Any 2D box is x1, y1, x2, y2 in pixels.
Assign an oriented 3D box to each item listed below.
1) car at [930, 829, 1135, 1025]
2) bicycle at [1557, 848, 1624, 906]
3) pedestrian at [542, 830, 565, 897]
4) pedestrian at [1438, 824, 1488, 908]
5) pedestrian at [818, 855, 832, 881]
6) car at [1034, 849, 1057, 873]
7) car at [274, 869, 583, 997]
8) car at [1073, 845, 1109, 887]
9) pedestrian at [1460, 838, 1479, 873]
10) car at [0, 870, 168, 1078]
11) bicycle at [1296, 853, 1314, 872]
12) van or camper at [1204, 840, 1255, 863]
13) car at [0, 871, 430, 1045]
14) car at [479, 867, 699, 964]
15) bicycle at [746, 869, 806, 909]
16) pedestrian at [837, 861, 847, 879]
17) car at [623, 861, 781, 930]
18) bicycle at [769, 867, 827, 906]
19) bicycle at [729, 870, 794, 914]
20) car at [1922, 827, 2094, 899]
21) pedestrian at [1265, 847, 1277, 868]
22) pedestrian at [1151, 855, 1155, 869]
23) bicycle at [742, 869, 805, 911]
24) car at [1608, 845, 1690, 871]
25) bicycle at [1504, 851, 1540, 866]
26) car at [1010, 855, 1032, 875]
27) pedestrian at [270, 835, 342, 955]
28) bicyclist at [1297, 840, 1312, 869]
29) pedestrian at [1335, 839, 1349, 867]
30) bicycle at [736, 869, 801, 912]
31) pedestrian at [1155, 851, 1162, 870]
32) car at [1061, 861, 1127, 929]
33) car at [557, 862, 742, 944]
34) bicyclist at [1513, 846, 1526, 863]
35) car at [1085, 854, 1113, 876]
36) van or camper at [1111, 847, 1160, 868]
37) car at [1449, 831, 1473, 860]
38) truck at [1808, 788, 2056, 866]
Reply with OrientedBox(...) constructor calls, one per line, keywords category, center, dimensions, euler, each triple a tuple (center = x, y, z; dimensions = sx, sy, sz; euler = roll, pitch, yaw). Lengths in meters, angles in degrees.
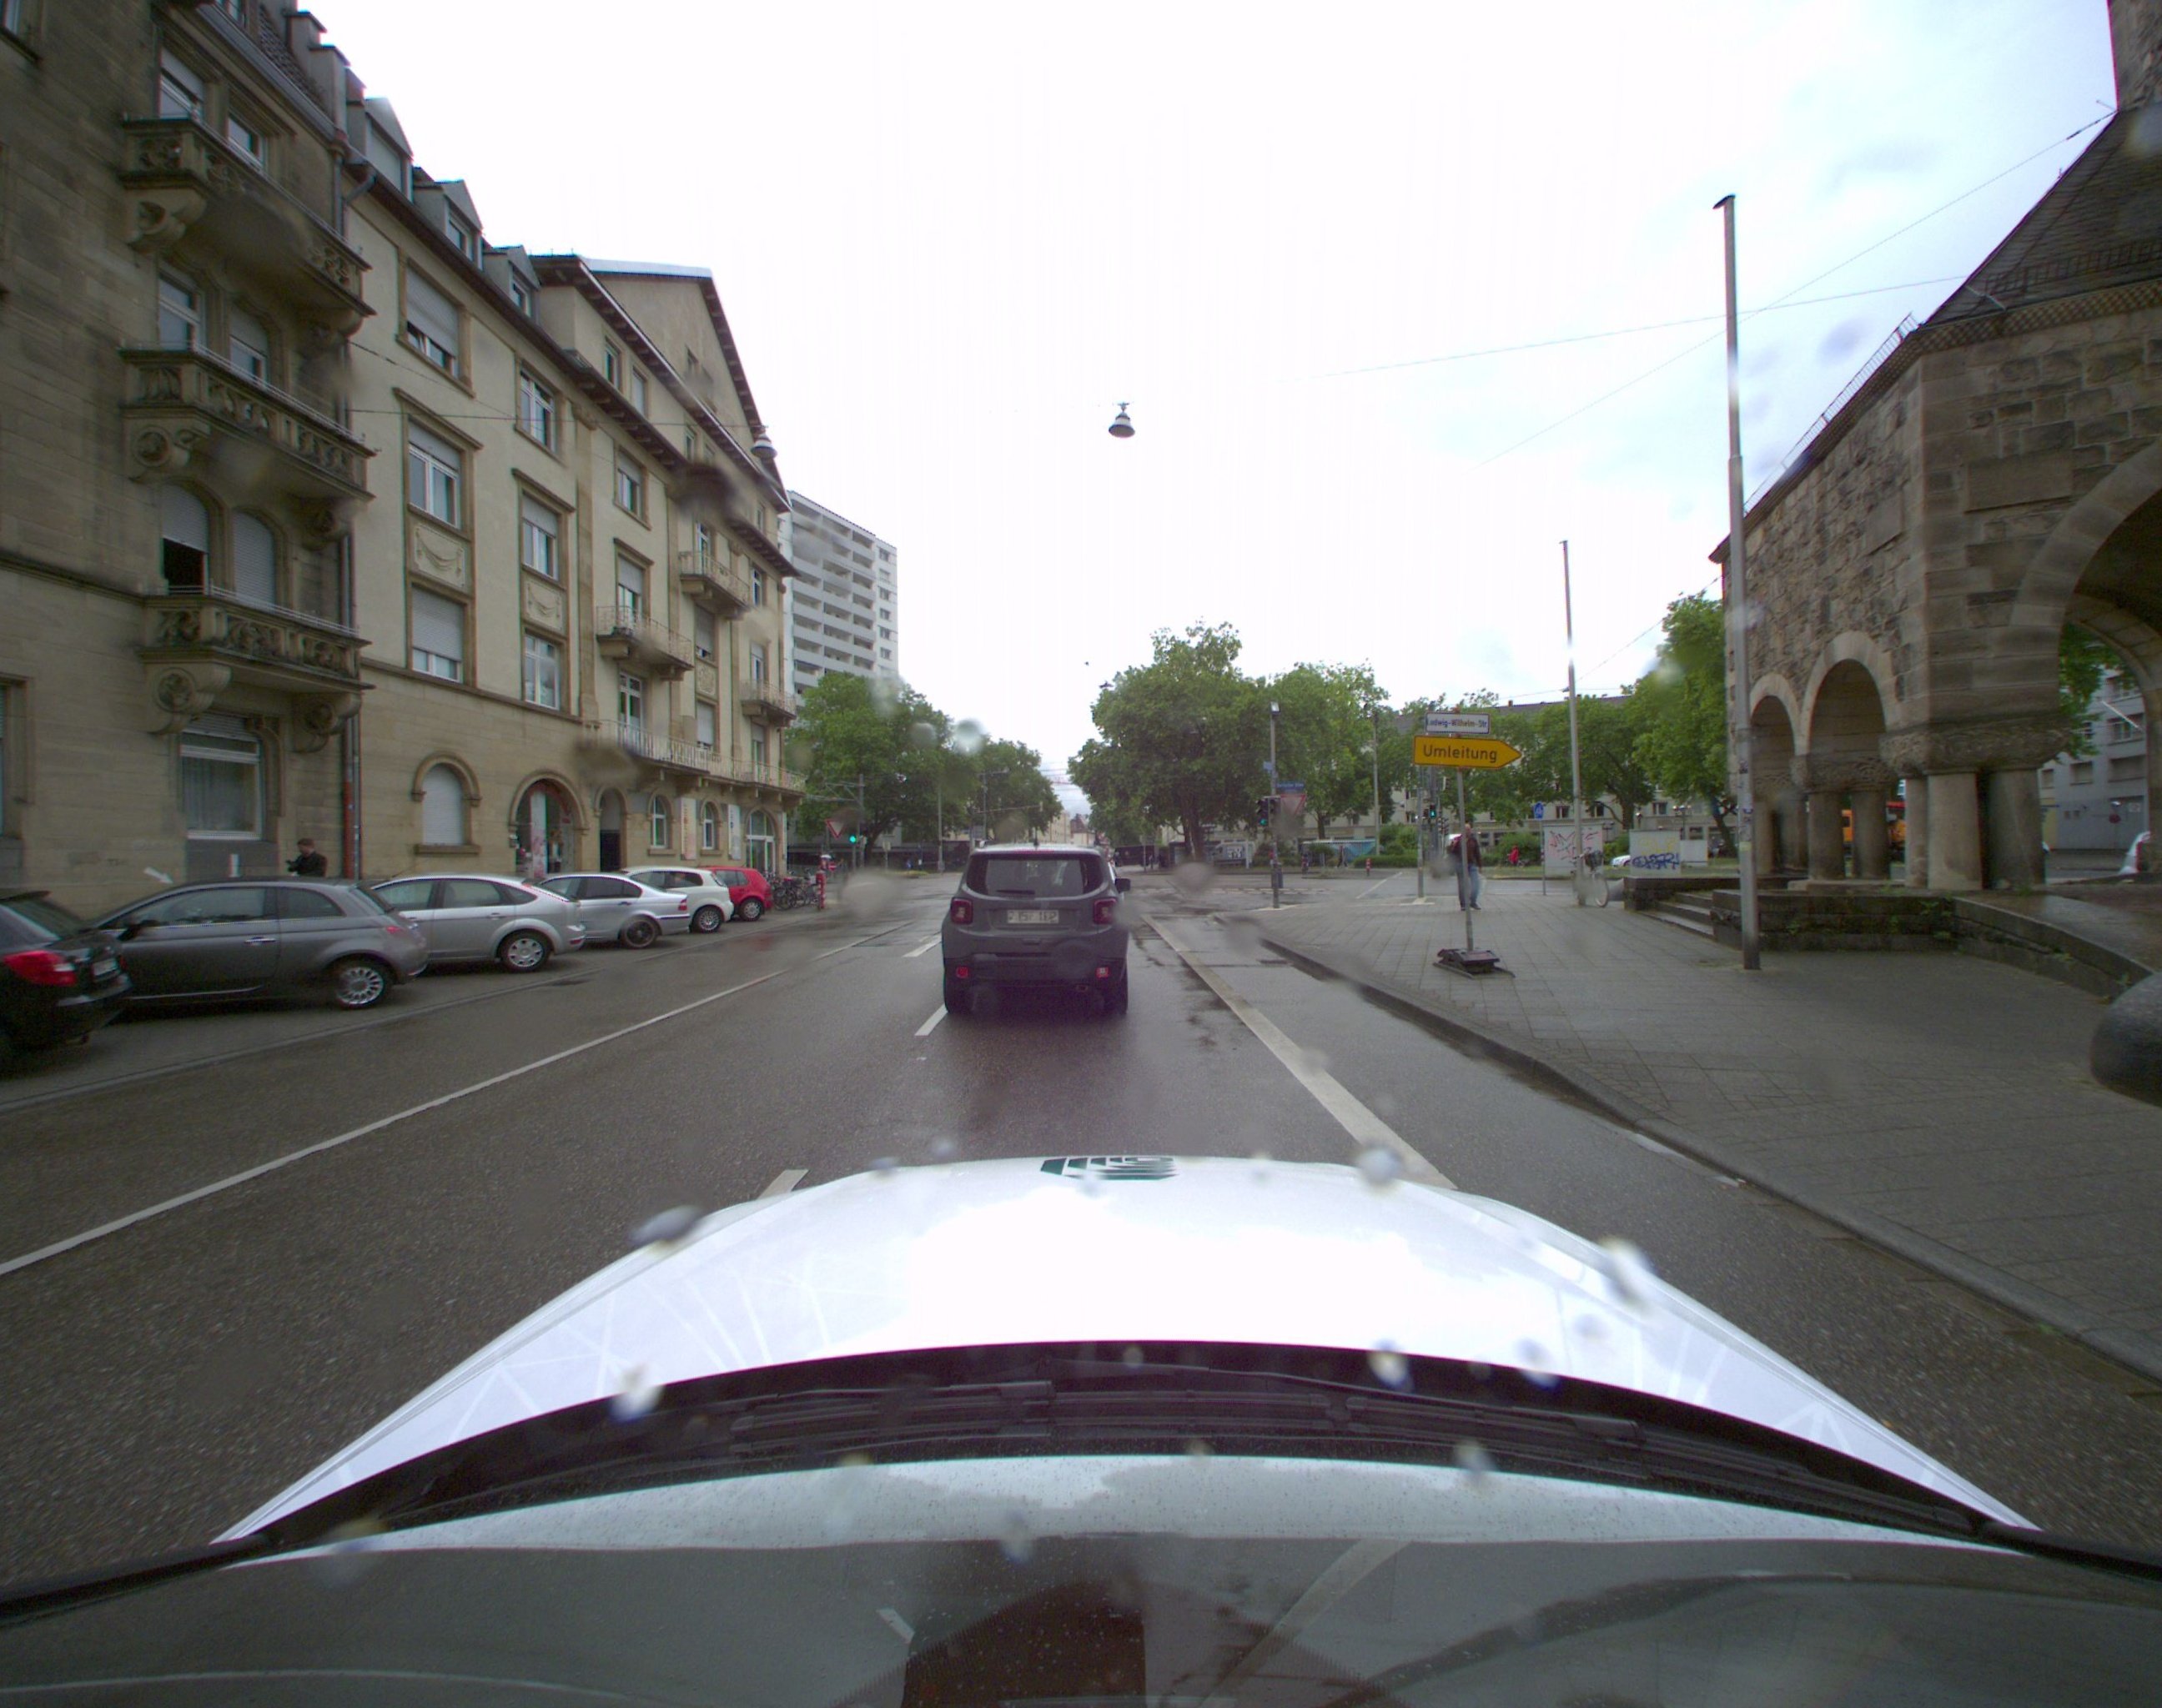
OrientedBox(category="car", center=(-0.405, 0.659, 9.247), dimensions=(1.769, 1.687, 3.848), euler=(-2, 0, 1))
OrientedBox(category="bicycle", center=(10.805, 0.464, 17.349), dimensions=(0.327, 1.154, 2.079), euler=(-2, 0, 7))
OrientedBox(category="pedestrian", center=(-14.676, 0.258, 22.651), dimensions=(0.365, 1.822, 0.347), euler=(-2, -1, -1))
OrientedBox(category="pedestrian", center=(8.266, 0.255, 17.648), dimensions=(0.780, 1.759, 0.949), euler=(-2, 0, 16))
OrientedBox(category="pedestrian", center=(-18.245, 0.977, 58.045), dimensions=(0.614, 1.826, 0.697), euler=(-2, 0, 15))
OrientedBox(category="car", center=(-2.717, 0.559, 62.782), dimensions=(1.717, 1.739, 3.726), euler=(-2, 0, -2))
OrientedBox(category="car", center=(-9.610, 1.055, 12.282), dimensions=(3.419, 1.558, 1.686), euler=(-1, 0, -38))
OrientedBox(category="car", center=(0.547, 0.600, 42.420), dimensions=(1.764, 2.013, 4.001), euler=(-2, 0, 1))
OrientedBox(category="pedestrian", center=(19.207, 0.071, 40.229), dimensions=(0.775, 1.645, 0.659), euler=(-2, -1, 25))
OrientedBox(category="car", center=(-9.857, 0.983, 6.225), dimensions=(3.571, 1.598, 1.587), euler=(-1, 0, -38))
OrientedBox(category="bicycle", center=(12.908, 0.482, 46.871), dimensions=(0.686, 1.021, 2.672), euler=(-3, 0, 22))
OrientedBox(category="van or camper", center=(15.839, -0.277, 87.220), dimensions=(5.234, 2.315, 2.093), euler=(-1, 0, 5))
OrientedBox(category="car", center=(-9.678, 1.034, 9.322), dimensions=(3.419, 1.558, 1.634), euler=(-1, 0, -38))
OrientedBox(category="car", center=(-9.359, 1.079, 15.573), dimensions=(3.419, 1.558, 1.686), euler=(-1, 0, -38))
OrientedBox(category="bicycle", center=(-10.205, 1.154, 27.284), dimensions=(1.758, 1.266, 0.608), euler=(-2, 0, 0))
OrientedBox(category="pedestrian", center=(-20.599, 1.364, 70.110), dimensions=(0.438, 1.530, 0.647), euler=(-2, 0, 27))
OrientedBox(category="car", center=(-9.836, 1.020, 21.216), dimensions=(3.419, 1.558, 1.686), euler=(-1, 0, -38))
OrientedBox(category="bicycle", center=(-9.782, 1.110, 28.156), dimensions=(1.758, 1.266, 0.608), euler=(-2, 0, 0))
OrientedBox(category="bicycle", center=(-9.812, 1.153, 25.016), dimensions=(1.758, 1.266, 0.522), euler=(-2, 0, 0))
OrientedBox(category="car", center=(21.082, 0.189, 18.679), dimensions=(1.389, 1.479, 3.239), euler=(-2, 0, 25))
OrientedBox(category="pedestrian", center=(14.672, 0.280, 62.781), dimensions=(0.667, 1.554, 0.766), euler=(-2, -2, 29))
OrientedBox(category="pedestrian", center=(8.659, 0.965, 97.919), dimensions=(0.456, 1.704, 0.424), euler=(-2, 0, 2))
OrientedBox(category="bicycle", center=(-9.891, 1.158, 26.250), dimensions=(1.804, 1.266, 0.498), euler=(-2, 0, 0))
OrientedBox(category="car", center=(32.133, 0.233, 46.146), dimensions=(3.528, 1.387, 1.638), euler=(-2, 0, 23))
OrientedBox(category="bicycle", center=(27.983, 0.271, 51.734), dimensions=(1.948, 0.911, 0.563), euler=(-2, 0, 25))
OrientedBox(category="car", center=(-5.309, 0.944, 72.688), dimensions=(1.810, 1.670, 3.916), euler=(-2, 0, -3))
OrientedBox(category="pedestrian", center=(-13.371, 0.686, 14.060), dimensions=(0.565, 2.013, 0.655), euler=(-2, 0, 1))
OrientedBox(category="bicyclist", center=(12.824, 0.047, 46.719), dimensions=(0.681, 1.617, 0.888), euler=(-3, 0, 21))
OrientedBox(category="pedestrian", center=(19.351, -0.055, 60.439), dimensions=(0.798, 2.013, 0.593), euler=(-2, -1, 28))
OrientedBox(category="bicycle", center=(-9.814, 1.146, 25.564), dimensions=(1.804, 1.266, 0.498), euler=(-2, 0, 0))
OrientedBox(category="pedestrian", center=(8.146, 0.655, 85.374), dimensions=(0.646, 2.013, 0.484), euler=(-2, 0, 14))
OrientedBox(category="car", center=(0.322, 0.882, 18.947), dimensions=(1.358, 1.376, 3.313), euler=(-2, 0, 2))
OrientedBox(category="car", center=(-9.637, 1.021, 18.270), dimensions=(3.419, 1.558, 1.686), euler=(-1, 0, -38))
OrientedBox(category="bicyclist", center=(27.901, 0.024, 51.769), dimensions=(0.673, 1.026, 0.563), euler=(-2, 0, 25))
OrientedBox(category="car", center=(1.103, 0.679, 51.354), dimensions=(1.589, 1.252, 3.572), euler=(-2, 0, -2))
OrientedBox(category="van or camper", center=(7.863, 0.513, 117.429), dimensions=(6.465, 2.912, 2.509), euler=(-2, 0, 28))
OrientedBox(category="car", center=(35.372, -0.788, 75.792), dimensions=(1.889, 2.555, 4.815), euler=(-2, 0, 25))
OrientedBox(category="truck", center=(42.768, -1.279, 41.347), dimensions=(8.333, 3.524, 2.391), euler=(-2, 0, 25))
